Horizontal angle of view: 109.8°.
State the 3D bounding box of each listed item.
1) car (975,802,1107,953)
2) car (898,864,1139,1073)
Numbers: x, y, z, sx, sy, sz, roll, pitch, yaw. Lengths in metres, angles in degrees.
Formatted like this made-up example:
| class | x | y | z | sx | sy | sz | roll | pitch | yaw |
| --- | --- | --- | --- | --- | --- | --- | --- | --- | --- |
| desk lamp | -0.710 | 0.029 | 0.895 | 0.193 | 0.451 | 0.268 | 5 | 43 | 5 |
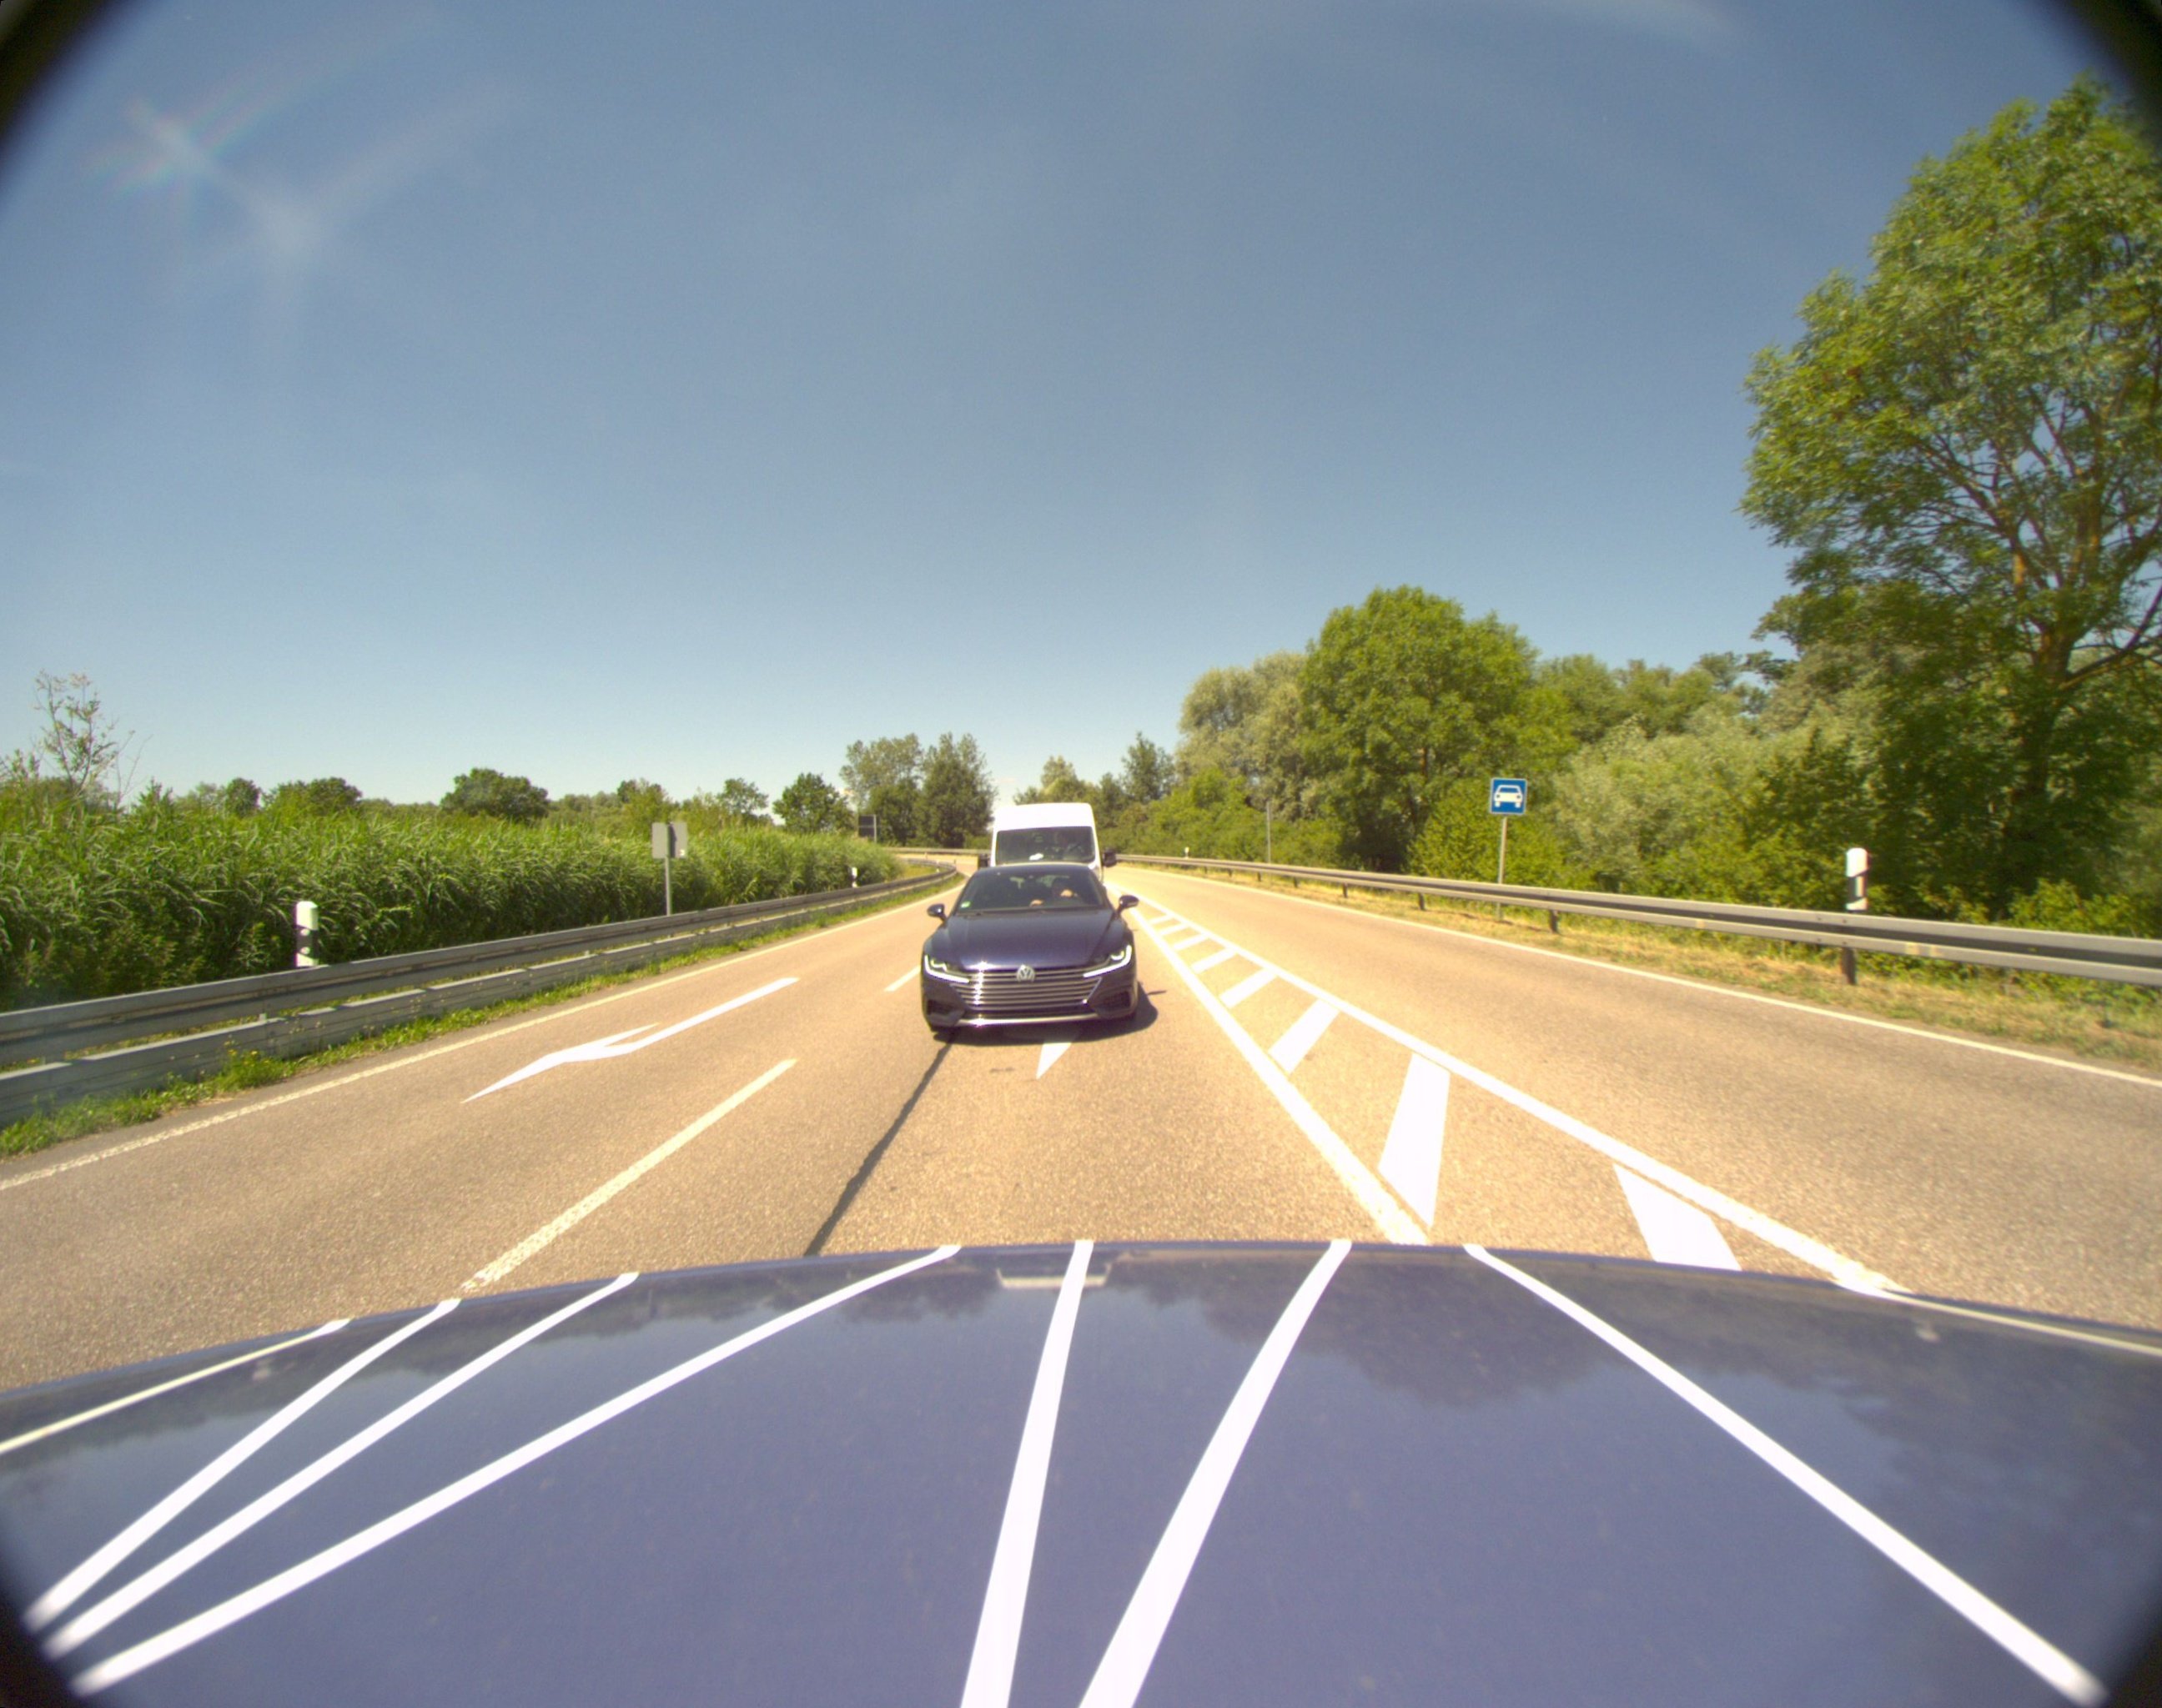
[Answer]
| class | x | y | z | sx | sy | sz | roll | pitch | yaw |
| --- | --- | --- | --- | --- | --- | --- | --- | --- | --- |
| car | -0.618 | 0.339 | 15.238 | 2.059 | 2.376 | 5.826 | -2 | 1 | 1 |
| car | -0.448 | 0.895 | 7.725 | 1.761 | 1.401 | 3.999 | -2 | 1 | 1 |
